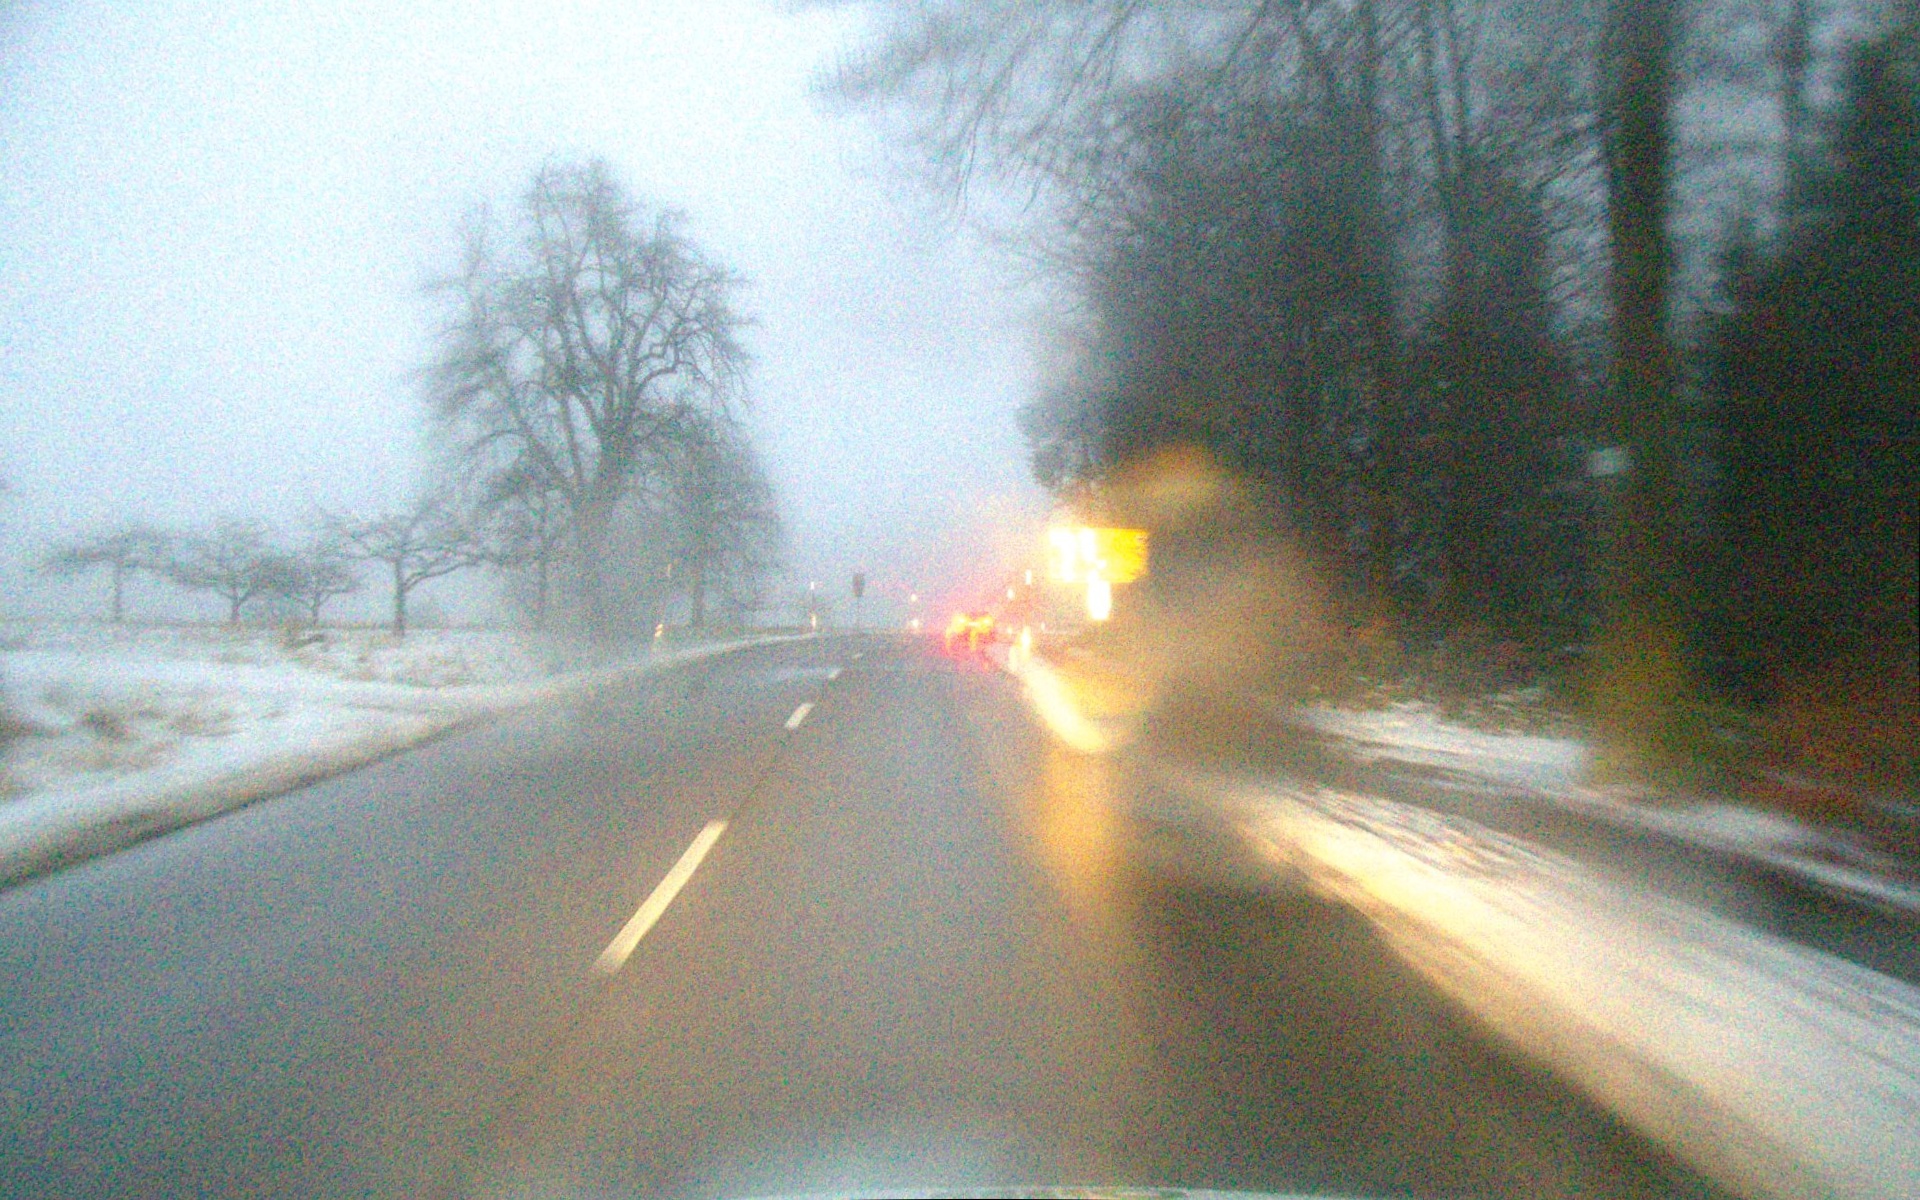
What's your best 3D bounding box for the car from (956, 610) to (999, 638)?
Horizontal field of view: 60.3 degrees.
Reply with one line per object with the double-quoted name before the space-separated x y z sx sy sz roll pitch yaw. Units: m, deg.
"car" 0.918 1.211 84.688 1.881 1.299 4.003 1 1 5
